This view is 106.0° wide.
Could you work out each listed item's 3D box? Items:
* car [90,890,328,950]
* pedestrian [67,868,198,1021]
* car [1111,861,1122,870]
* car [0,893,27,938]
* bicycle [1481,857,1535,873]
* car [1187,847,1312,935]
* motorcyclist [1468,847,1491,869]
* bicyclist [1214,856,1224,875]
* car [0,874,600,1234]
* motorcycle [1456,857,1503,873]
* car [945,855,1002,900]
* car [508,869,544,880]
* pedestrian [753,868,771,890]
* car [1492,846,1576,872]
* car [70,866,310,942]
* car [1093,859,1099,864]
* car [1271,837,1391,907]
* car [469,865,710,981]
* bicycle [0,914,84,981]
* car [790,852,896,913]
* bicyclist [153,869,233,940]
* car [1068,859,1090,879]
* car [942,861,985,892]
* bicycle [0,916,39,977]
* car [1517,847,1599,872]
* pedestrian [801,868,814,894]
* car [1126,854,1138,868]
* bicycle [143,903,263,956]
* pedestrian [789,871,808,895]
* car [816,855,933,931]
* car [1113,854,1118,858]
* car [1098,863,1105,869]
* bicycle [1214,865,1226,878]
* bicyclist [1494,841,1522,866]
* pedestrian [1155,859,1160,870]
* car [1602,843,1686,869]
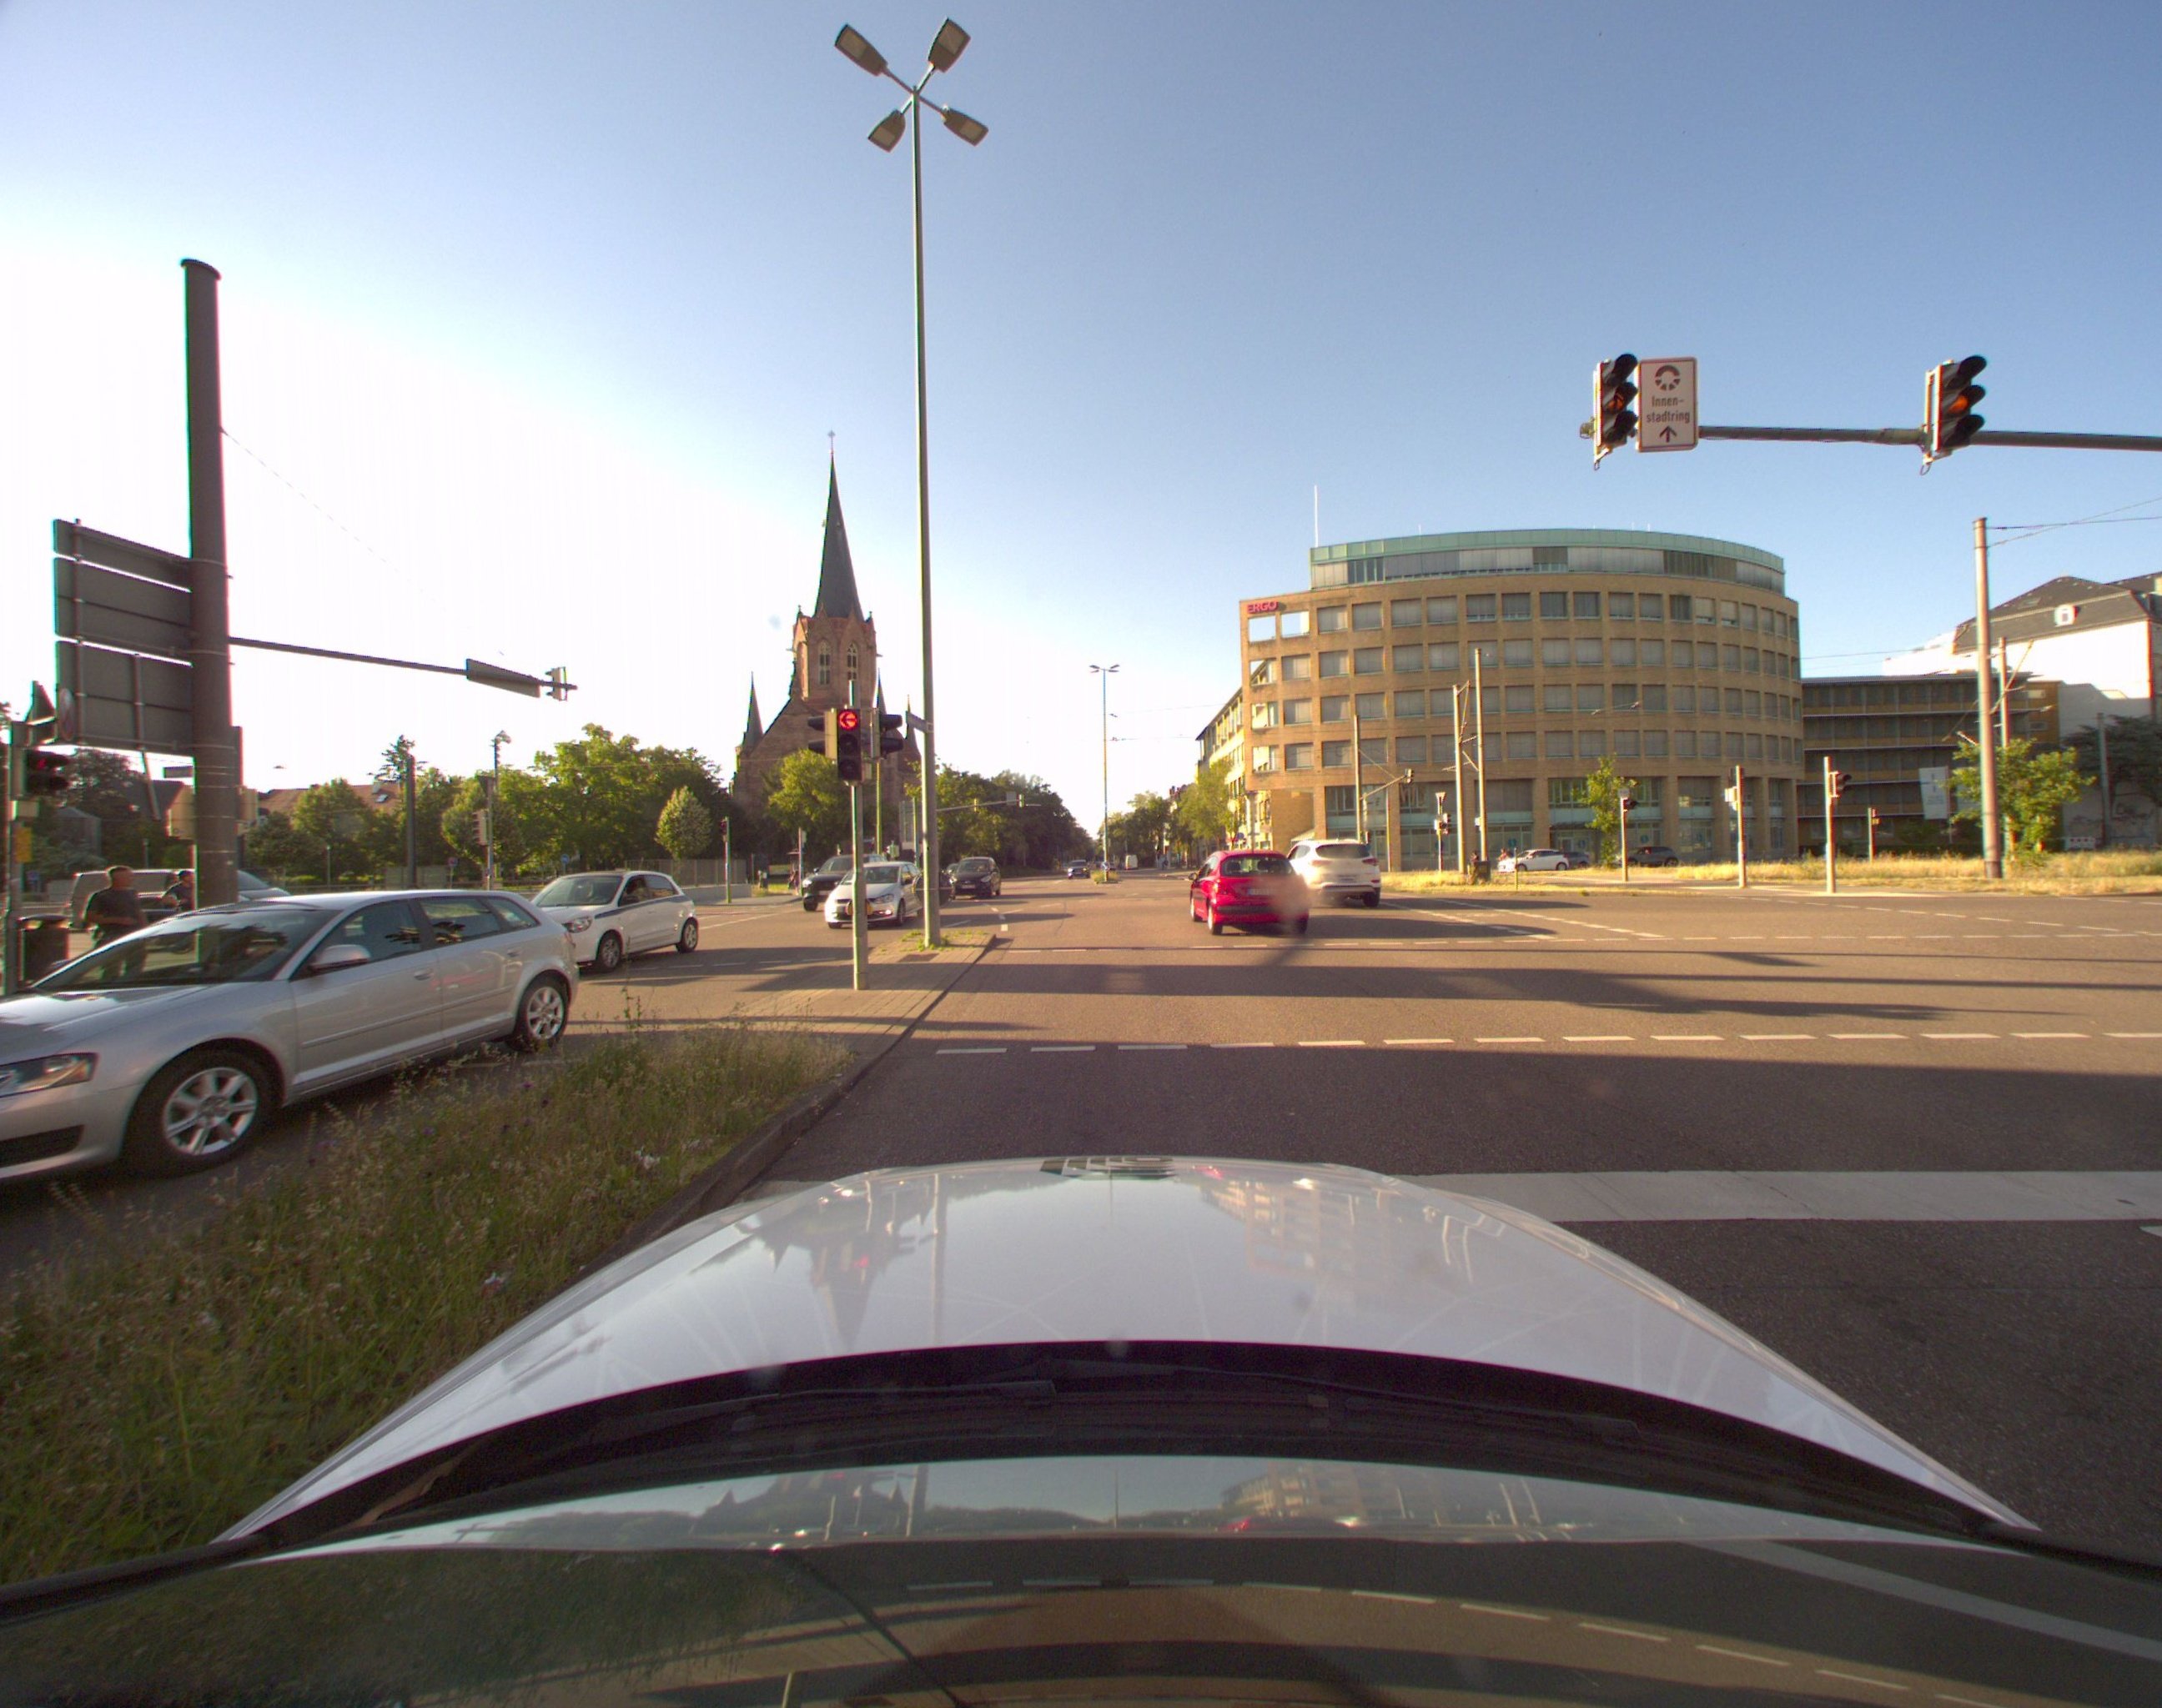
[{"bbox_3d":[-22.645,1.682,21.269,4.175,1.313,1.800,-2,-1,-1],"label":"car"},{"bbox_3d":[-11.674,1.080,10.046,0.605,1.787,0.813,1,0,5],"label":"pedestrian"},{"bbox_3d":[5.712,1.848,131.525,1.588,1.267,3.268,-2,0,2],"label":"car"},{"bbox_3d":[-35.086,1.951,24.657,3.889,1.374,1.800,-2,-1,-1],"label":"car"},{"bbox_3d":[28.007,0.715,53.480,2.951,1.000,1.154,-2,-1,-1],"label":"bicycle"},{"bbox_3d":[3.061,0.633,15.535,1.663,1.462,4.001,0,-1,2],"label":"car"},{"bbox_3d":[27.445,0.278,56.085,1.061,1.435,1.032,-2,-1,1],"label":"motorcyclist"},{"bbox_3d":[9.926,0.814,58.499,0.590,1.369,0.930,0,-1,2],"label":"bicyclist"},{"bbox_3d":[-5.376,0.953,5.531,1.703,1.425,4.102,-3,0,0],"label":"car"},{"bbox_3d":[27.443,0.752,56.076,2.708,0.964,1.032,-2,-1,0],"label":"motorcycle"},{"bbox_3d":[-4.062,0.862,31.281,1.572,1.544,3.478,-3,0,1],"label":"car"},{"bbox_3d":[-91.771,3.398,134.809,4.450,1.571,1.993,-1,-1,-10],"label":"car"},{"bbox_3d":[-25.364,1.989,64.733,1.005,1.696,0.848,-1,-1,17],"label":"pedestrian"},{"bbox_3d":[28.343,0.327,51.029,4.150,1.492,1.994,-2,-1,-1],"label":"car"},{"bbox_3d":[-26.653,1.463,24.505,4.908,2.014,1.999,-2,-1,-1],"label":"car"},{"bbox_3d":[4.574,2.309,251.285,1.879,1.671,4.002,0,-1,2],"label":"car"},{"bbox_3d":[6.289,0.445,21.018,1.909,1.607,4.271,0,-1,2],"label":"car"},{"bbox_3d":[-7.972,1.029,13.647,1.669,1.544,3.639,-3,0,1],"label":"car"},{"bbox_3d":[-18.742,1.637,13.835,0.732,1.051,2.300,-2,0,1],"label":"bicycle"},{"bbox_3d":[-7.549,0.839,26.354,1.809,1.711,4.788,-3,0,2],"label":"car"},{"bbox_3d":[-21.060,1.175,19.335,0.733,1.598,0.963,-3,0,1],"label":"bicyclist"},{"bbox_3d":[-0.164,1.414,77.053,1.986,1.724,5.031,-2,-1,1],"label":"car"},{"bbox_3d":[-6.750,1.244,47.134,1.788,1.565,4.148,-2,1,1],"label":"car"},{"bbox_3d":[-19.547,1.658,13.813,0.732,1.051,2.300,-2,-1,1],"label":"bicycle"},{"bbox_3d":[32.797,0.379,56.054,4.464,1.537,1.987,-2,-1,2],"label":"car"},{"bbox_3d":[-18.260,1.814,54.435,0.712,1.696,0.888,0,-1,-28],"label":"pedestrian"},{"bbox_3d":[9.058,1.292,144.527,1.986,2.440,4.002,0,-1,2],"label":"car"},{"bbox_3d":[-20.810,1.779,19.335,1.770,1.097,0.952,-3,0,1],"label":"bicycle"},{"bbox_3d":[-19.686,2.012,56.778,1.004,1.696,0.849,-1,-1,44],"label":"pedestrian"},{"bbox_3d":[-4.825,0.854,19.573,1.669,1.544,3.807,-3,0,2],"label":"car"},{"bbox_3d":[10.841,0.619,255.122,1.588,1.267,3.268,-2,0,2],"label":"car"},{"bbox_3d":[5.319,3.108,209.101,1.588,1.267,3.268,-2,0,2],"label":"car"},{"bbox_3d":[9.941,1.265,58.486,0.590,0.943,1.979,0,-1,2],"label":"bicycle"},{"bbox_3d":[28.033,-0.009,53.480,1.219,1.572,1.154,-2,-1,0],"label":"bicyclist"},{"bbox_3d":[12.280,1.638,130.748,0.844,1.803,0.776,-2,0,1],"label":"pedestrian"},{"bbox_3d":[35.222,0.138,51.020,4.038,1.492,1.820,-2,-1,0],"label":"car"}]
